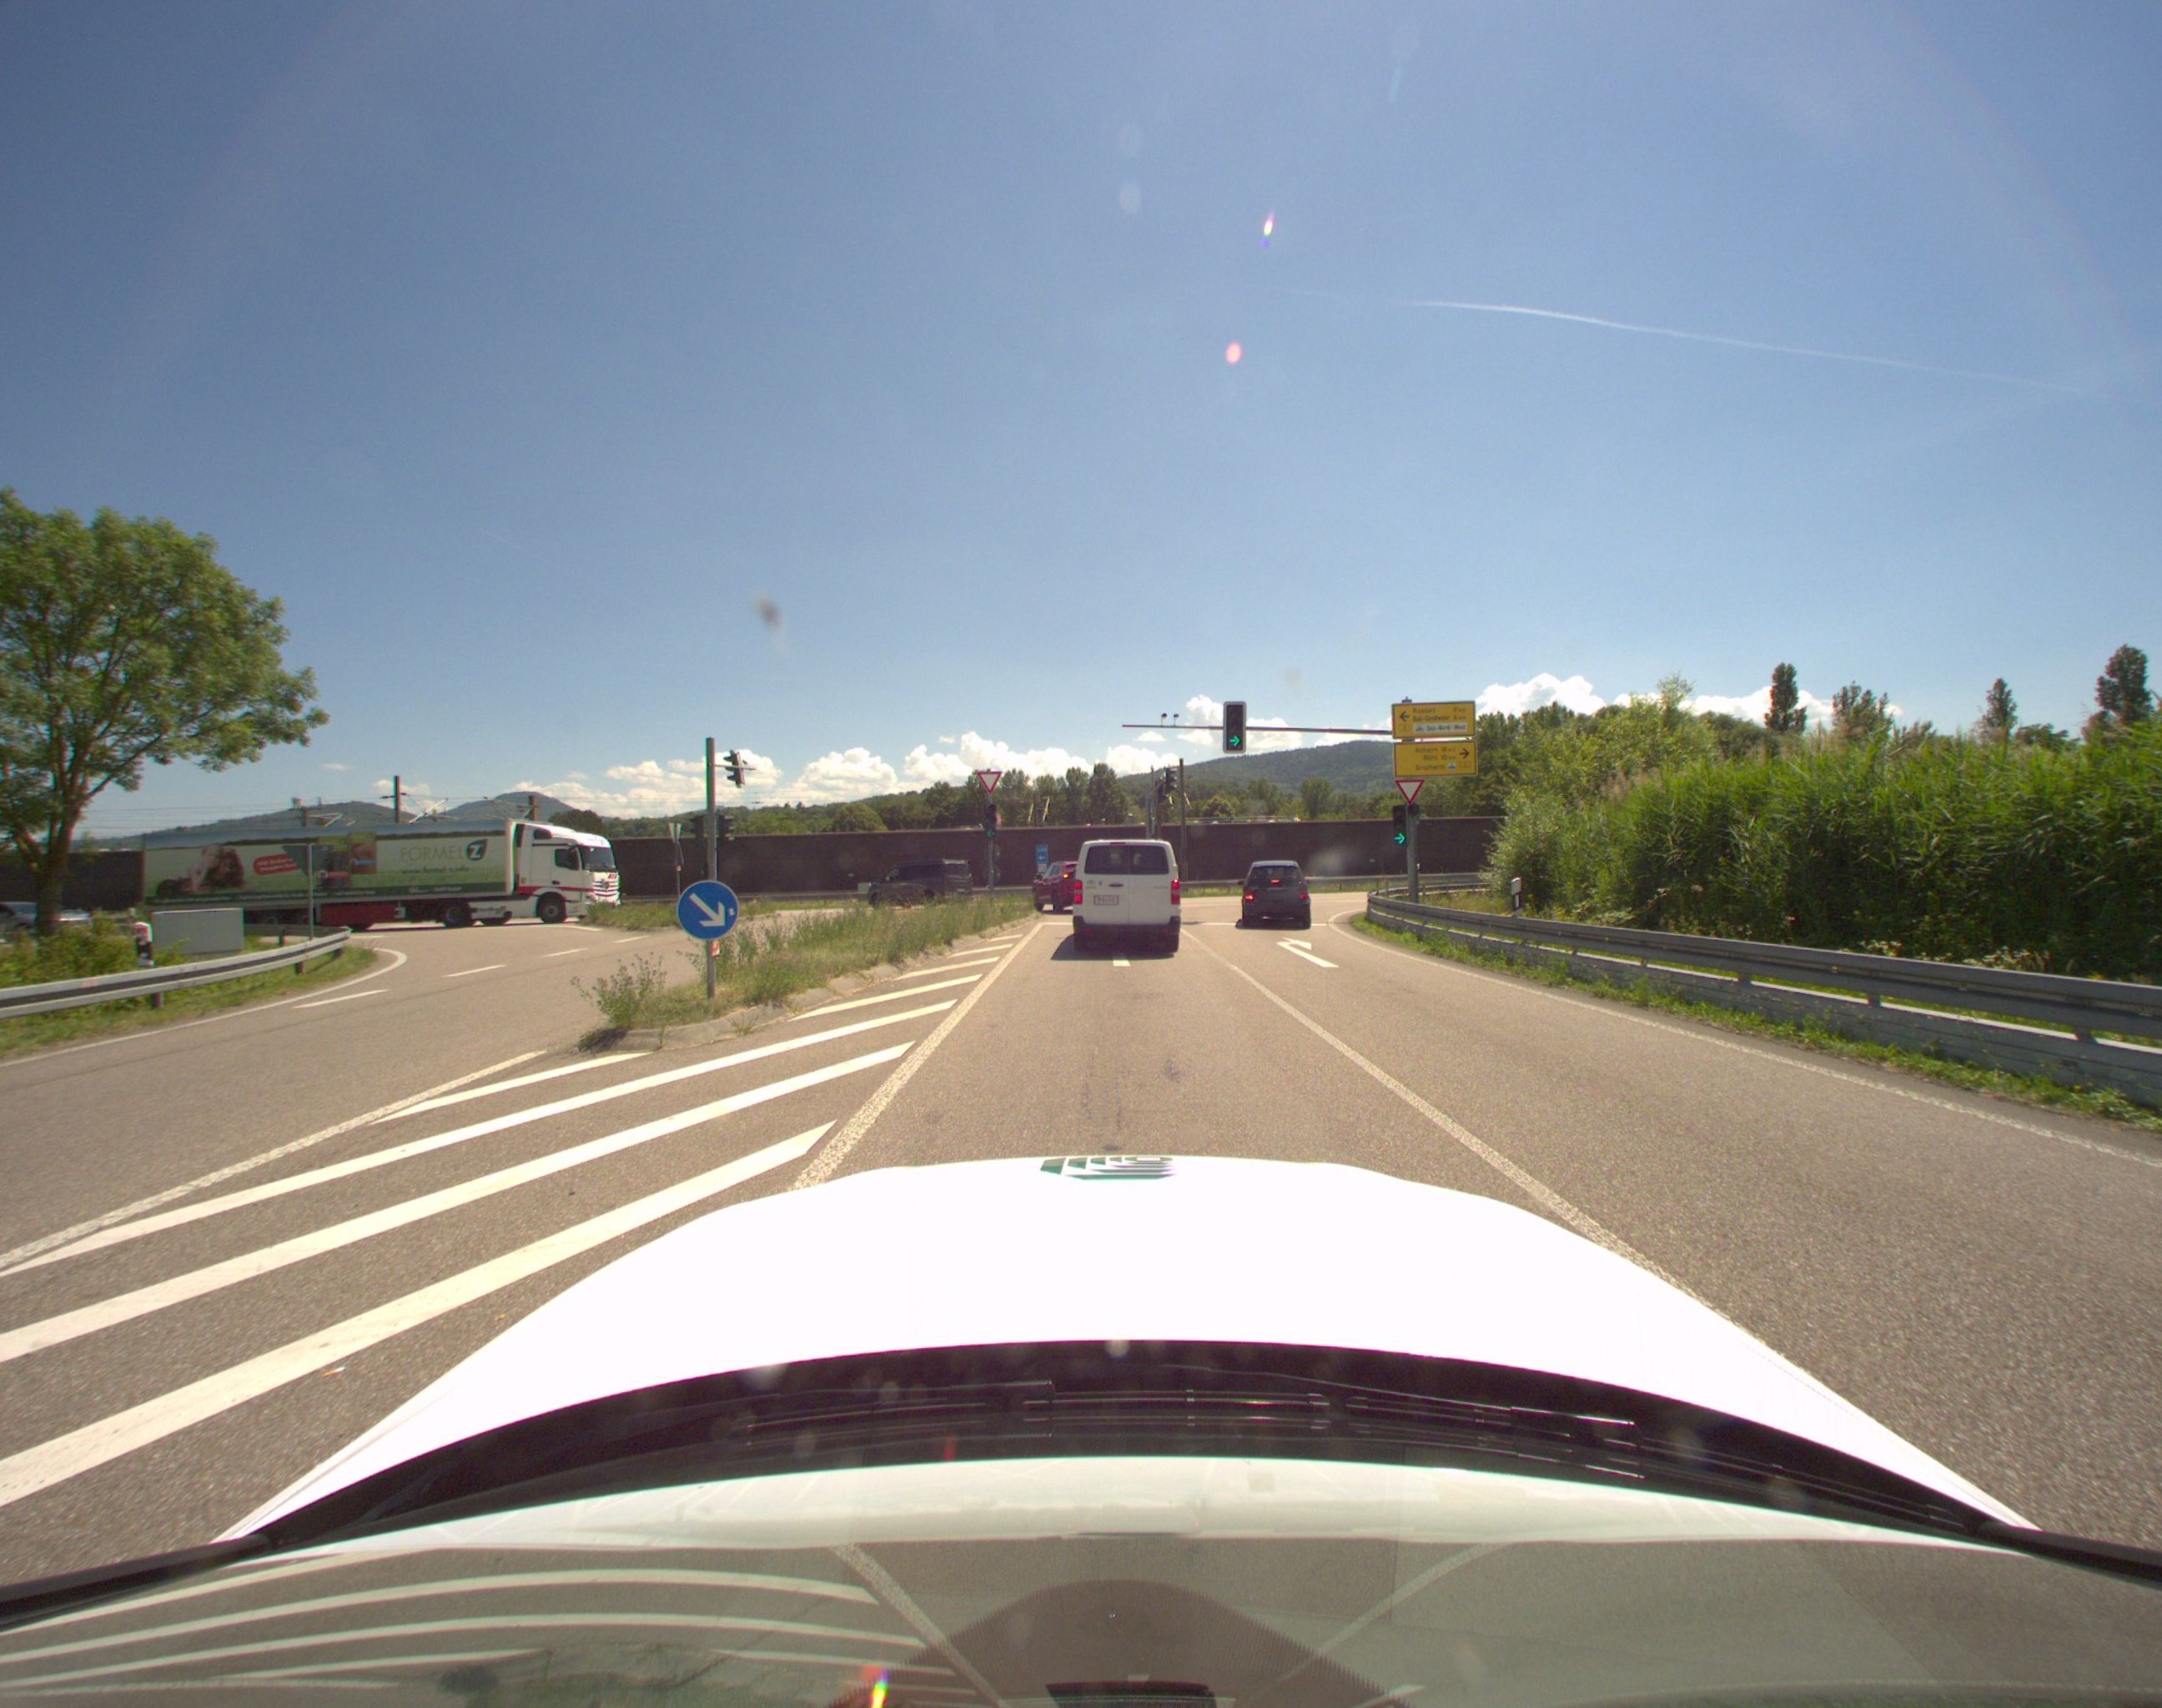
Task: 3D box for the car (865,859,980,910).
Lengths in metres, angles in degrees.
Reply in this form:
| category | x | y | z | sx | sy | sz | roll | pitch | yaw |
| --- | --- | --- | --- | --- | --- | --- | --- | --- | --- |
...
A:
| category | x | y | z | sx | sy | sz | roll | pitch | yaw |
| --- | --- | --- | --- | --- | --- | --- | --- | --- | --- |
| car | -6.909 | 1.338 | 35.349 | 4.721 | 2.022 | 2.026 | -3 | -2 | 32 |

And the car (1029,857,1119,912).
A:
| category | x | y | z | sx | sy | sz | roll | pitch | yaw |
| --- | --- | --- | --- | --- | --- | --- | --- | --- | --- |
| car | -0.340 | 1.044 | 27.190 | 1.910 | 1.650 | 4.117 | -1 | -2 | -17 |

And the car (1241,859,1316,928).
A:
| category | x | y | z | sx | sy | sz | roll | pitch | yaw |
| --- | --- | --- | --- | --- | --- | --- | --- | --- | --- |
| car | 4.987 | 0.947 | 20.932 | 1.628 | 1.597 | 3.570 | 0 | -1 | 9 |

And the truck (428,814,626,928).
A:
| category | x | y | z | sx | sy | sz | roll | pitch | yaw |
| --- | --- | --- | --- | --- | --- | --- | --- | --- | --- |
| truck | -21.478 | 0.679 | 31.814 | 5.788 | 4.045 | 2.697 | -2 | -2 | -1 |

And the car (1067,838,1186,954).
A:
| category | x | y | z | sx | sy | sz | roll | pitch | yaw |
| --- | --- | --- | --- | --- | --- | --- | --- | --- | --- |
| car | 0.889 | 0.716 | 15.687 | 1.937 | 1.881 | 4.885 | 0 | -1 | 4 |

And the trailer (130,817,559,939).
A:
| category | x | y | z | sx | sy | sz | roll | pitch | yaw |
| --- | --- | --- | --- | --- | --- | --- | --- | --- | --- |
| trailer | -28.267 | 0.918 | 31.697 | 14.035 | 4.045 | 2.697 | -2 | -2 | -1 |

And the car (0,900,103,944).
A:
| category | x | y | z | sx | sy | sz | roll | pitch | yaw |
| --- | --- | --- | --- | --- | --- | --- | --- | --- | --- |
| car | -41.227 | 2.669 | 31.724 | 4.127 | 1.562 | 1.717 | -2 | -2 | 0 |
